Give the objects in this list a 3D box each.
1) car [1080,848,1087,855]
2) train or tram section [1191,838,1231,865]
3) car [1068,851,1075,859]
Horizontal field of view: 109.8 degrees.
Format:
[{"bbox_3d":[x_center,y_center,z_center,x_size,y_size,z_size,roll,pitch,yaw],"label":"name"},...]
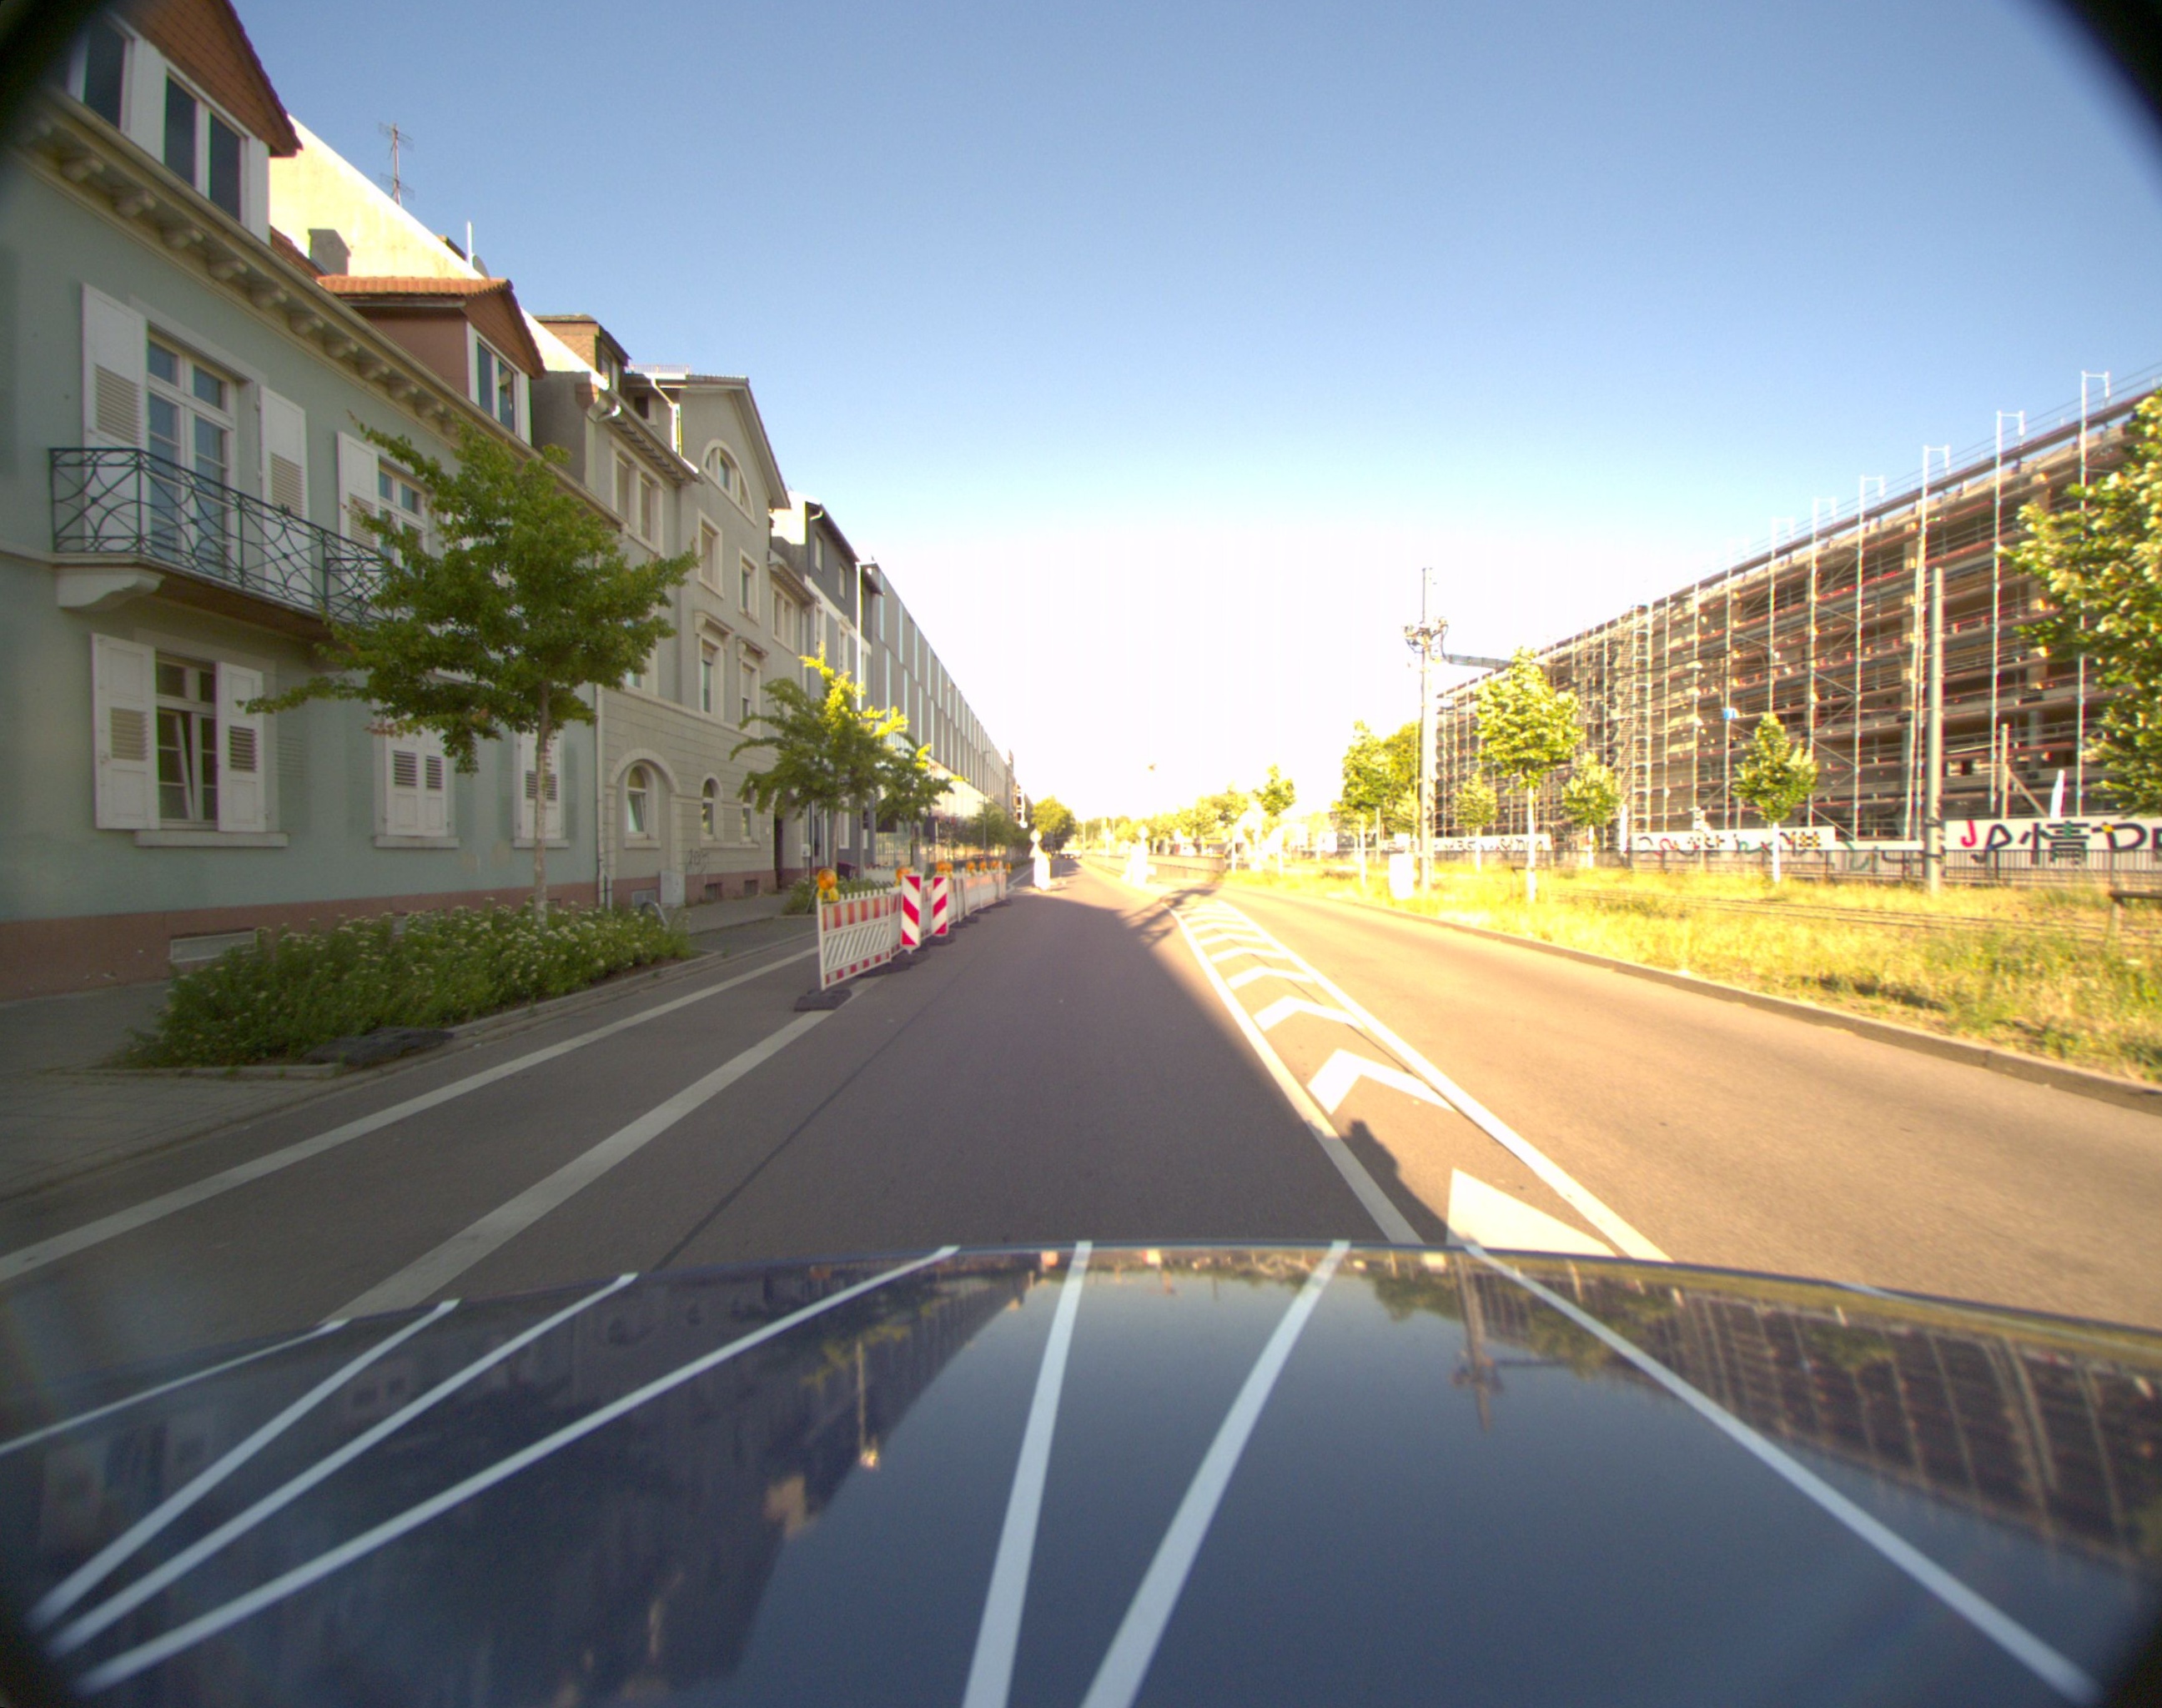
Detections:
[{"bbox_3d":[0.652,-0.835,220.405,1.941,2.002,3.825,-1,1,-2],"label":"car"},{"bbox_3d":[17.670,-0.407,104.213,2.954,3.378,12.630,-2,1,-1],"label":"train or tram section"},{"bbox_3d":[-2.477,0.185,197.492,1.941,2.002,3.825,-1,1,-2],"label":"car"}]
